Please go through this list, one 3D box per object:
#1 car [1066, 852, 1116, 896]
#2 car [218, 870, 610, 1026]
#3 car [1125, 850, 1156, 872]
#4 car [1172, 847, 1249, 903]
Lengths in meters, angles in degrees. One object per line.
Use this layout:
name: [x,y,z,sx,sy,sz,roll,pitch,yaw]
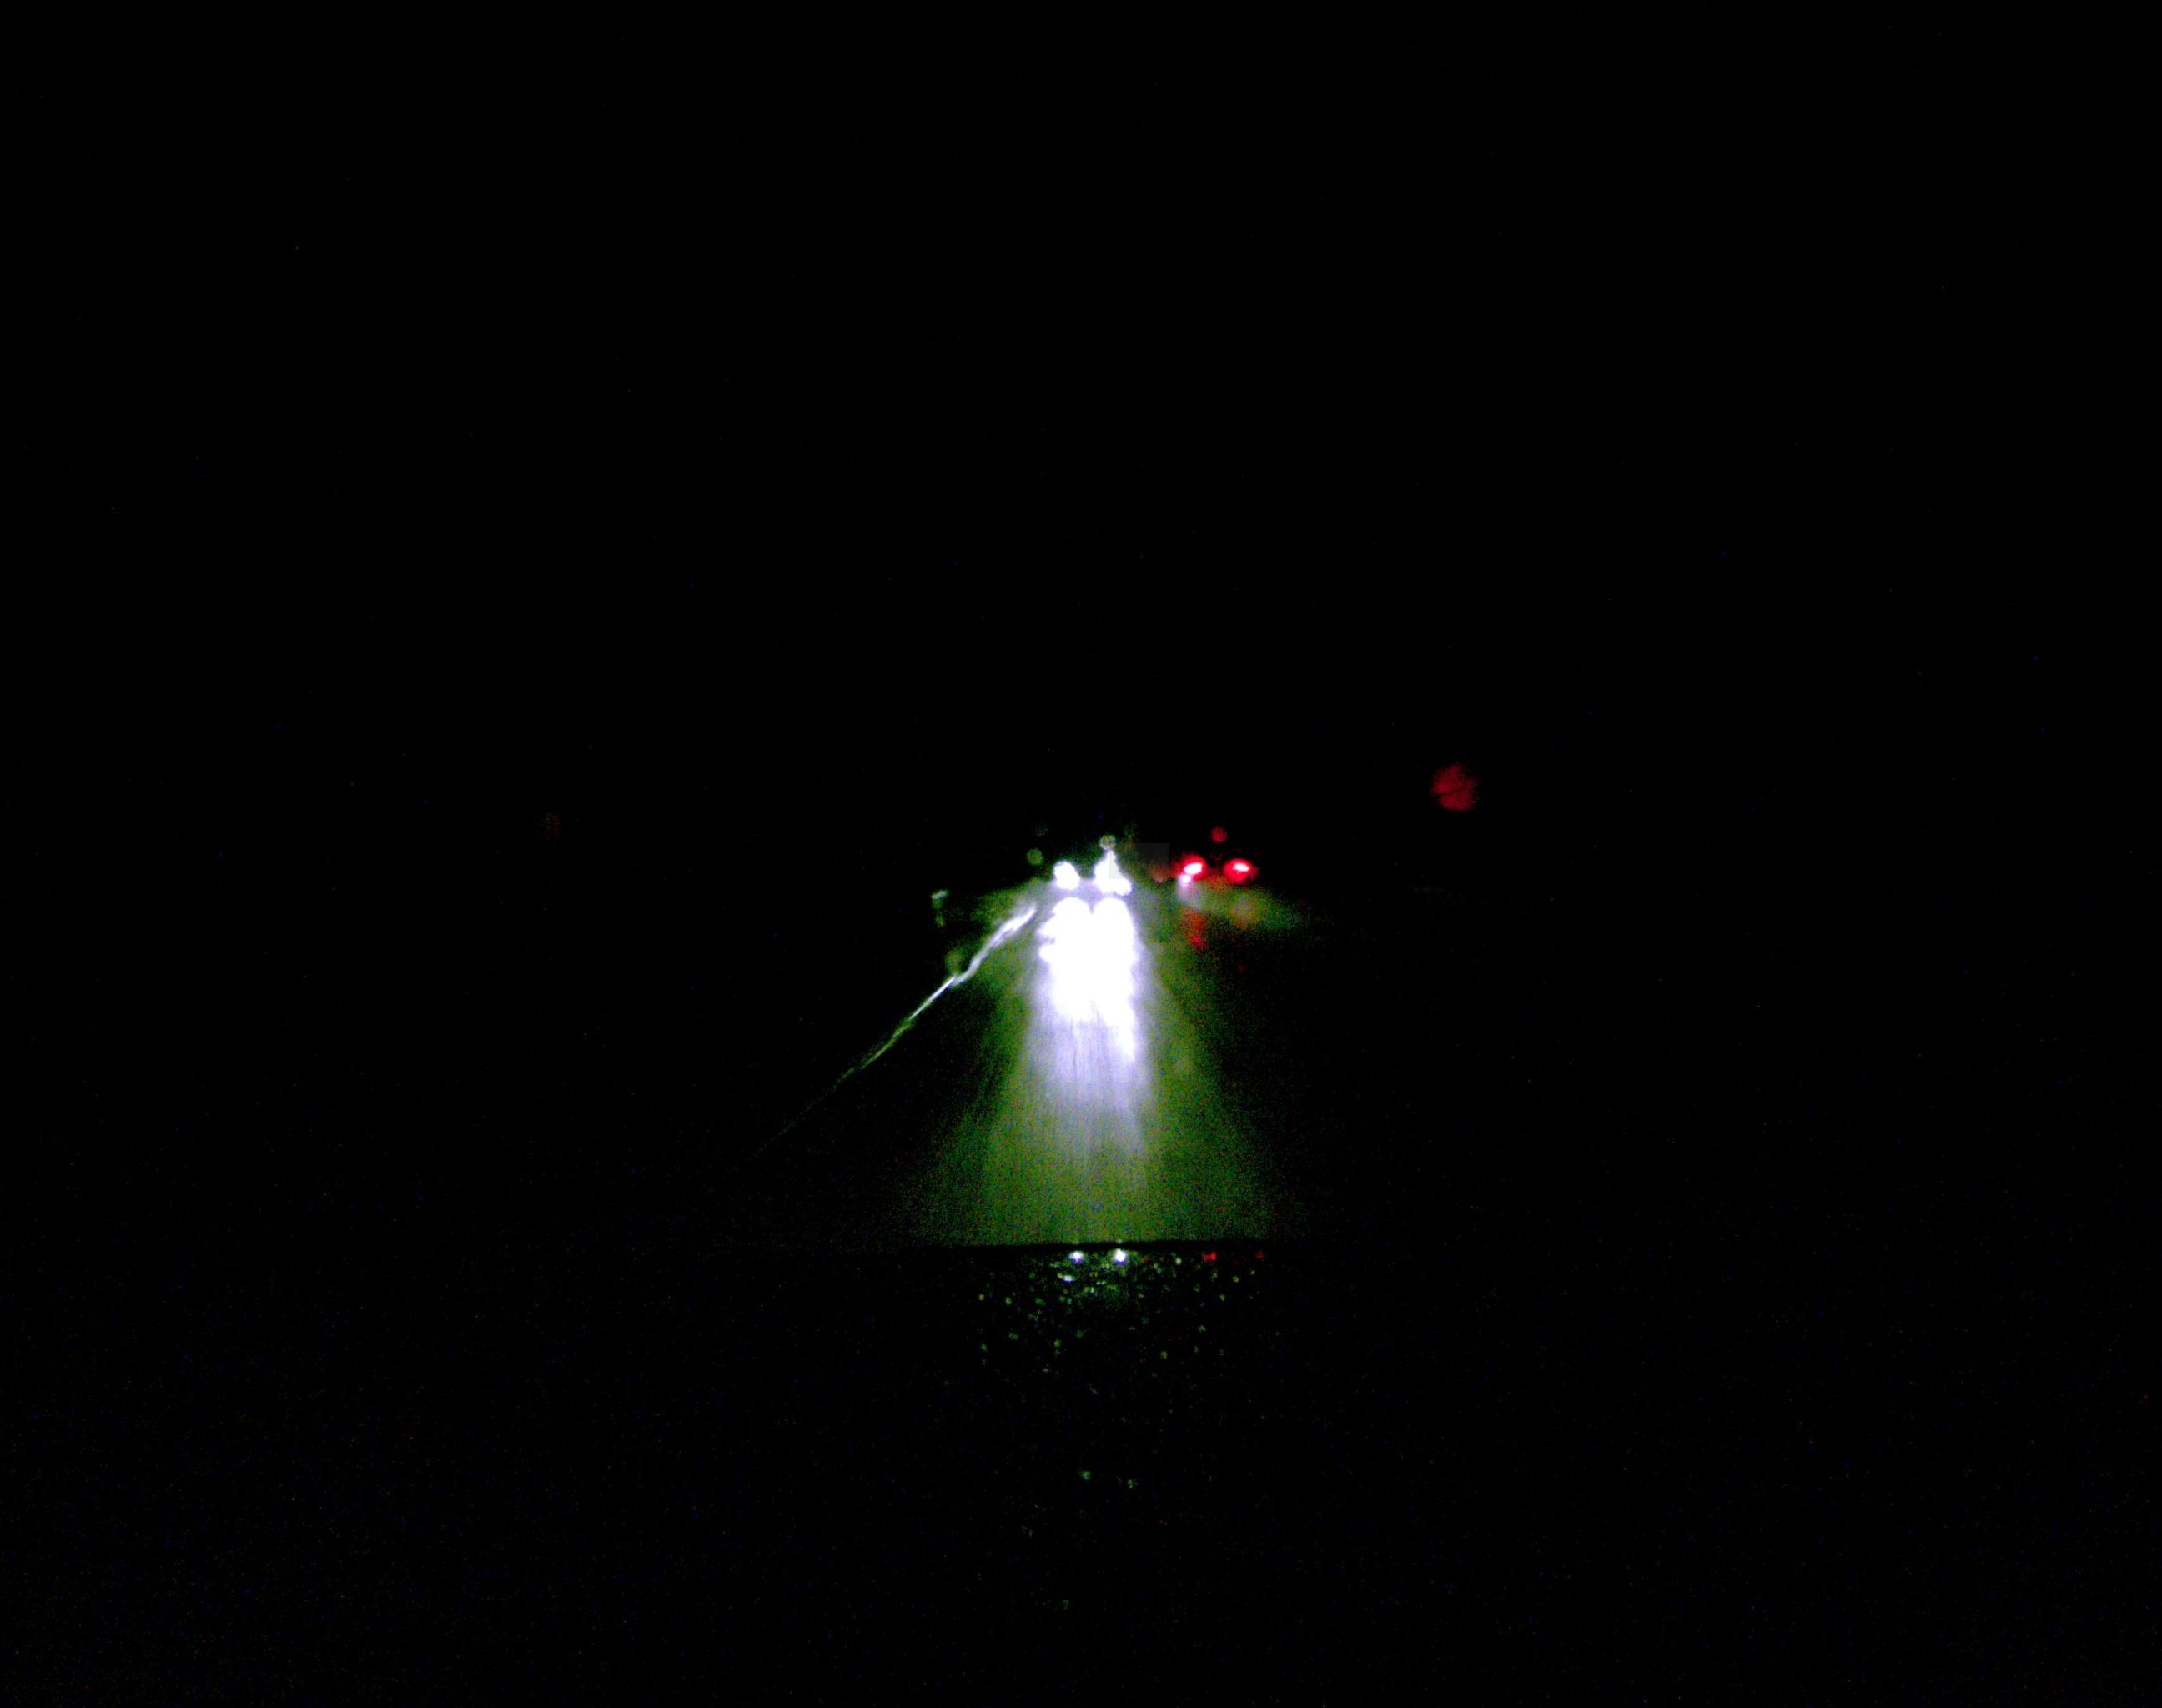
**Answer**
car: [0.387,0.727,30.675,1.863,1.601,4.419,-1,1,0]
car: [-7.932,0.993,9.148,3.730,1.512,1.751,0,1,15]
car: [4.450,0.463,57.136,1.951,1.464,4.095,-3,1,1]
car: [4.106,0.615,24.642,1.834,1.637,4.000,-1,1,1]
